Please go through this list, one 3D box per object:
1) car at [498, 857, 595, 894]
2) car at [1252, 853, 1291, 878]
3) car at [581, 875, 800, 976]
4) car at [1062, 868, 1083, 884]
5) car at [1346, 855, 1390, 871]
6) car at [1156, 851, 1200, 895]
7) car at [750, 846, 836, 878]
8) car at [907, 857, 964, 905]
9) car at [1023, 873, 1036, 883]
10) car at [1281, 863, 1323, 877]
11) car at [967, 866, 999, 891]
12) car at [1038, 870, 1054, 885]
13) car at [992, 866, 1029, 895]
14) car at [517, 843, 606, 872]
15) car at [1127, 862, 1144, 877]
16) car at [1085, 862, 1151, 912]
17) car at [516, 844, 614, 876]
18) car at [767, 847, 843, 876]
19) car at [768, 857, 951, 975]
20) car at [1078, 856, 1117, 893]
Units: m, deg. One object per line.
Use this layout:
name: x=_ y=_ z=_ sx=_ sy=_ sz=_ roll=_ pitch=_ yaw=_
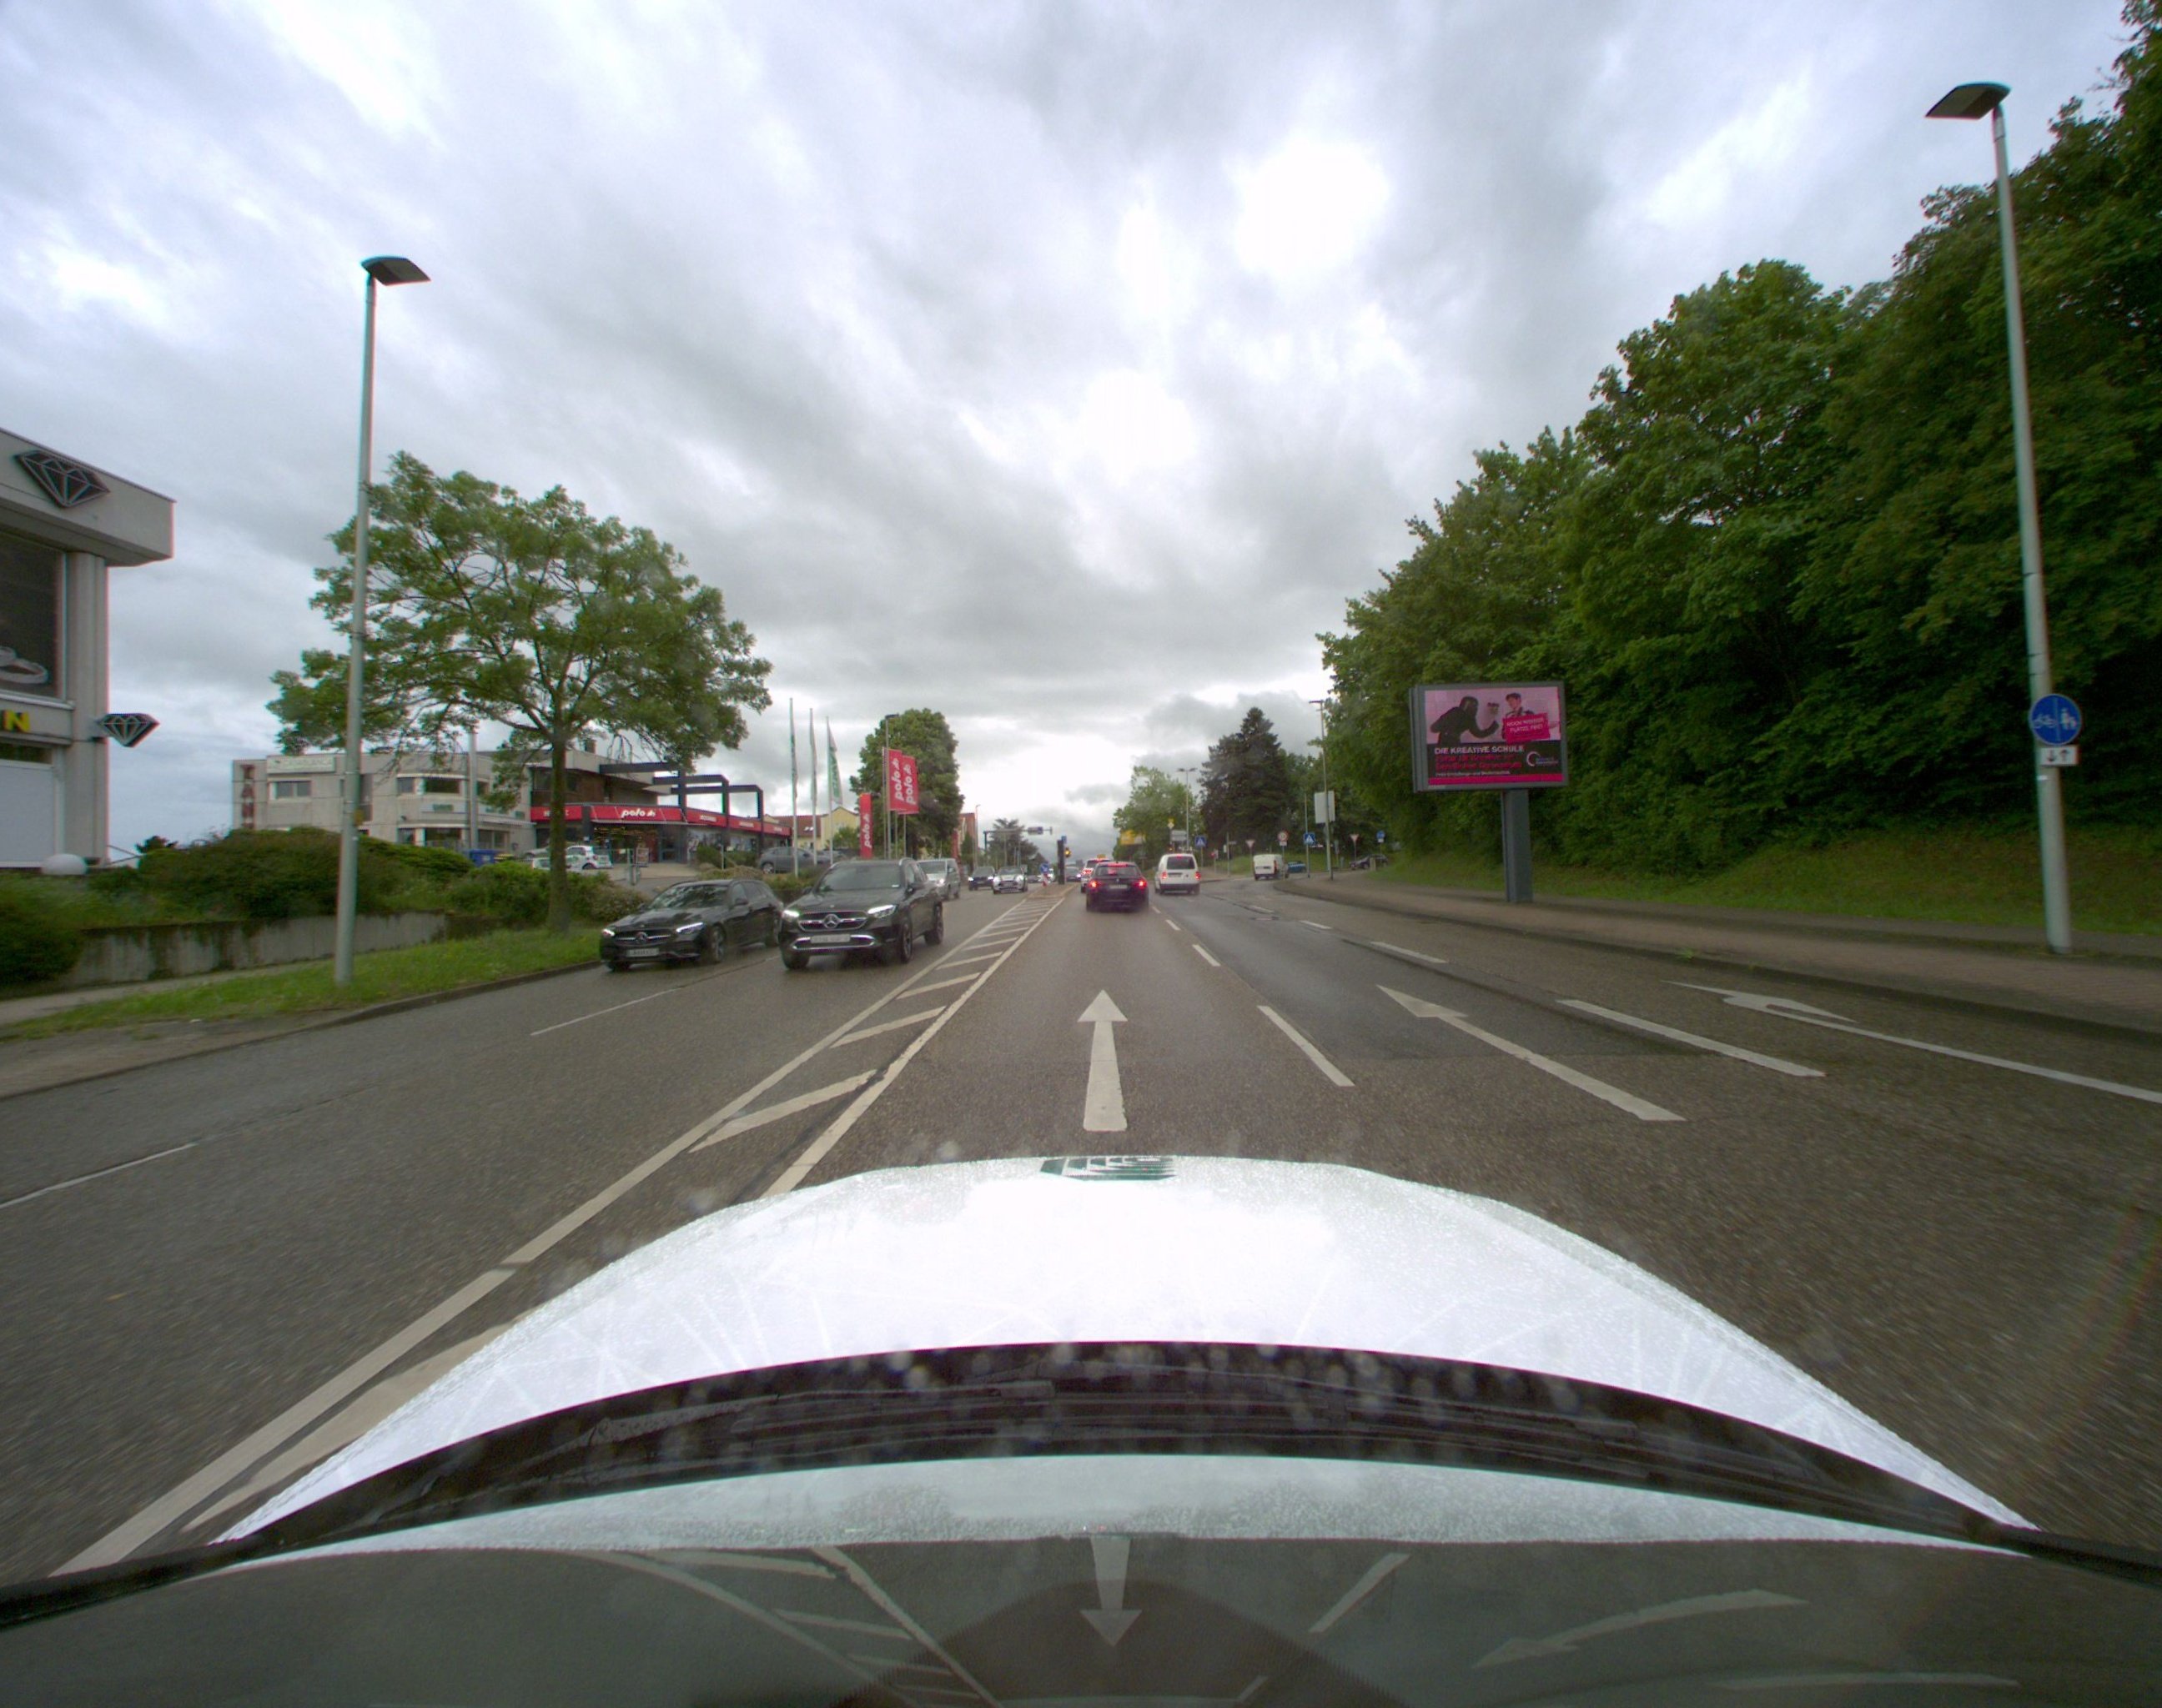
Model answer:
car: x=-24.523 y=0.948 z=37.552 sx=1.668 sy=1.512 sz=4.004 roll=-3 pitch=-1 yaw=1
car: x=14.196 y=0.840 z=60.603 sx=1.797 sy=1.708 sz=3.970 roll=-2 pitch=0 yaw=28
car: x=-6.917 y=1.193 z=15.021 sx=1.786 sy=1.401 sz=4.302 roll=-3 pitch=0 yaw=2
car: x=-0.856 y=2.129 z=79.242 sx=1.890 sy=1.456 sz=4.093 roll=-2 pitch=-1 yaw=-2
car: x=29.954 y=0.910 z=84.998 sx=4.343 sy=1.467 sz=1.883 roll=-2 pitch=-1 yaw=-30
car: x=4.364 y=0.854 z=37.067 sx=1.734 sy=1.869 sz=3.949 roll=-1 pitch=-1 yaw=3
car: x=-14.892 y=0.396 z=42.285 sx=3.822 sy=1.482 sz=1.738 roll=-2 pitch=-1 yaw=-6
car: x=-6.705 y=1.217 z=38.069 sx=1.791 sy=1.983 sz=4.895 roll=-3 pitch=-1 yaw=-1
car: x=-8.111 y=3.776 z=127.502 sx=1.662 sy=1.382 sz=4.072 roll=-2 pitch=-1 yaw=1
car: x=23.197 y=1.685 z=85.569 sx=3.997 sy=1.294 sz=1.599 roll=-3 pitch=0 yaw=-17
car: x=-7.074 y=1.722 z=59.212 sx=1.746 sy=1.610 sz=4.531 roll=-3 pitch=0 yaw=-1
car: x=-4.565 y=3.097 z=107.381 sx=1.852 sy=1.823 sz=4.577 roll=-4 pitch=-1 yaw=-1
car: x=-3.785 y=1.393 z=44.198 sx=1.662 sy=1.398 sz=3.998 roll=-3 pitch=-1 yaw=-1
car: x=-30.172 y=0.228 z=47.387 sx=3.972 sy=1.512 sz=1.876 roll=-2 pitch=-1 yaw=3
car: x=5.375 y=1.527 z=80.377 sx=1.594 sy=1.372 sz=3.683 roll=-3 pitch=0 yaw=3
car: x=1.170 y=0.955 z=25.005 sx=1.847 sy=1.419 sz=3.960 roll=-1 pitch=-1 yaw=4
car: x=-26.942 y=0.310 z=42.629 sx=3.819 sy=1.482 sz=1.872 roll=-2 pitch=-1 yaw=-4
car: x=-15.195 y=0.411 z=44.975 sx=3.642 sy=1.482 sz=1.738 roll=-2 pitch=-1 yaw=-6
car: x=-3.548 y=0.915 z=13.931 sx=1.816 sy=1.607 sz=4.284 roll=-3 pitch=-1 yaw=1
car: x=0.865 y=0.990 z=40.276 sx=1.720 sy=1.711 sz=3.387 roll=-1 pitch=0 yaw=4
